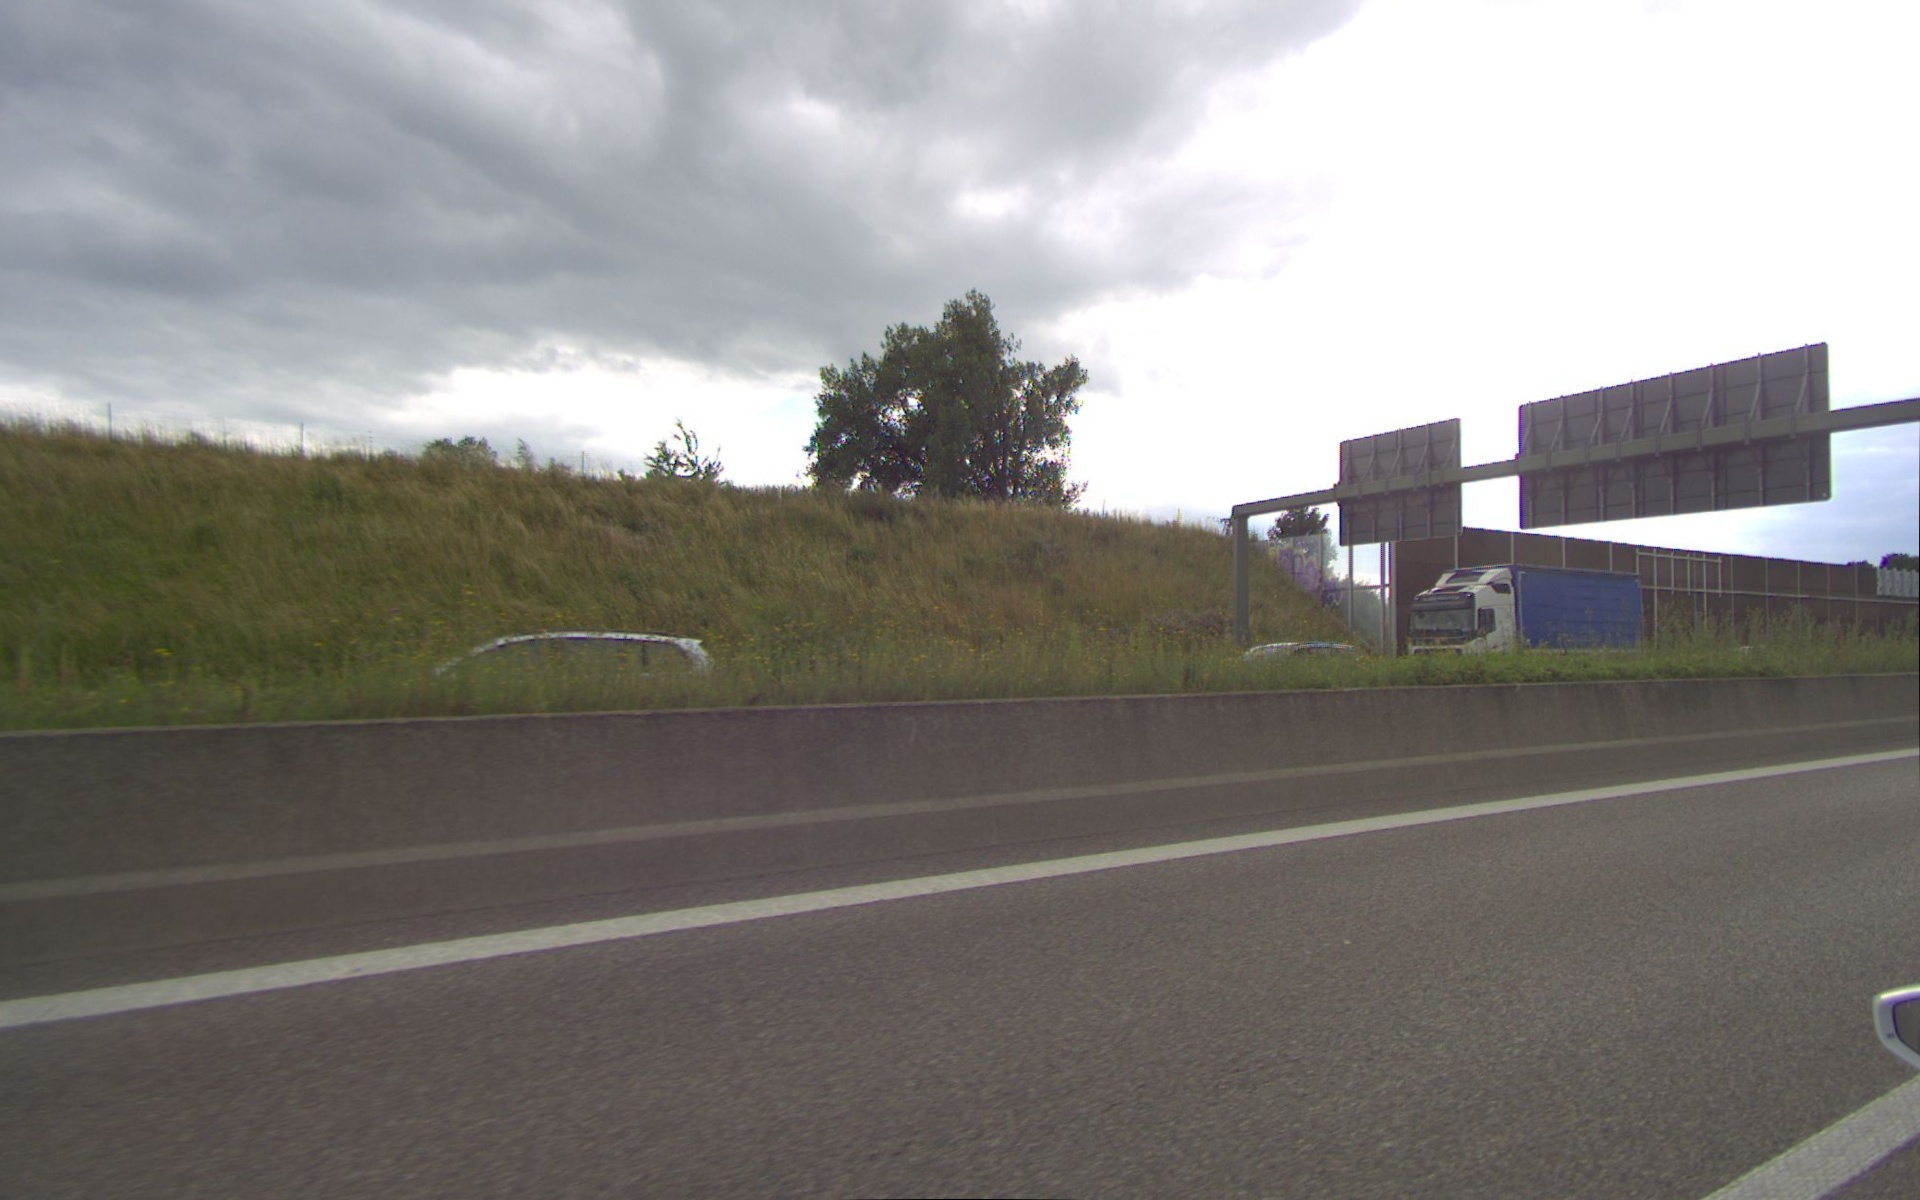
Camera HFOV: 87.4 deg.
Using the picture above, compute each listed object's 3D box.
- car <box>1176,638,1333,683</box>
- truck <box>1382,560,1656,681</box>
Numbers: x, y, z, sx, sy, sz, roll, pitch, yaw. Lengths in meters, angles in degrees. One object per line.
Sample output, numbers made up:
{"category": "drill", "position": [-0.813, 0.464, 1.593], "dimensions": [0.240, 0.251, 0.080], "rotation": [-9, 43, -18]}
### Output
{"category": "car", "position": [6.564, 1.328, 22.340], "dimensions": [3.308, 0.873, 1.517], "rotation": [2, 0, -30]}
{"category": "truck", "position": [19.286, 0.766, 34.327], "dimensions": [10.809, 3.650, 3.244], "rotation": [1, -2, -31]}
